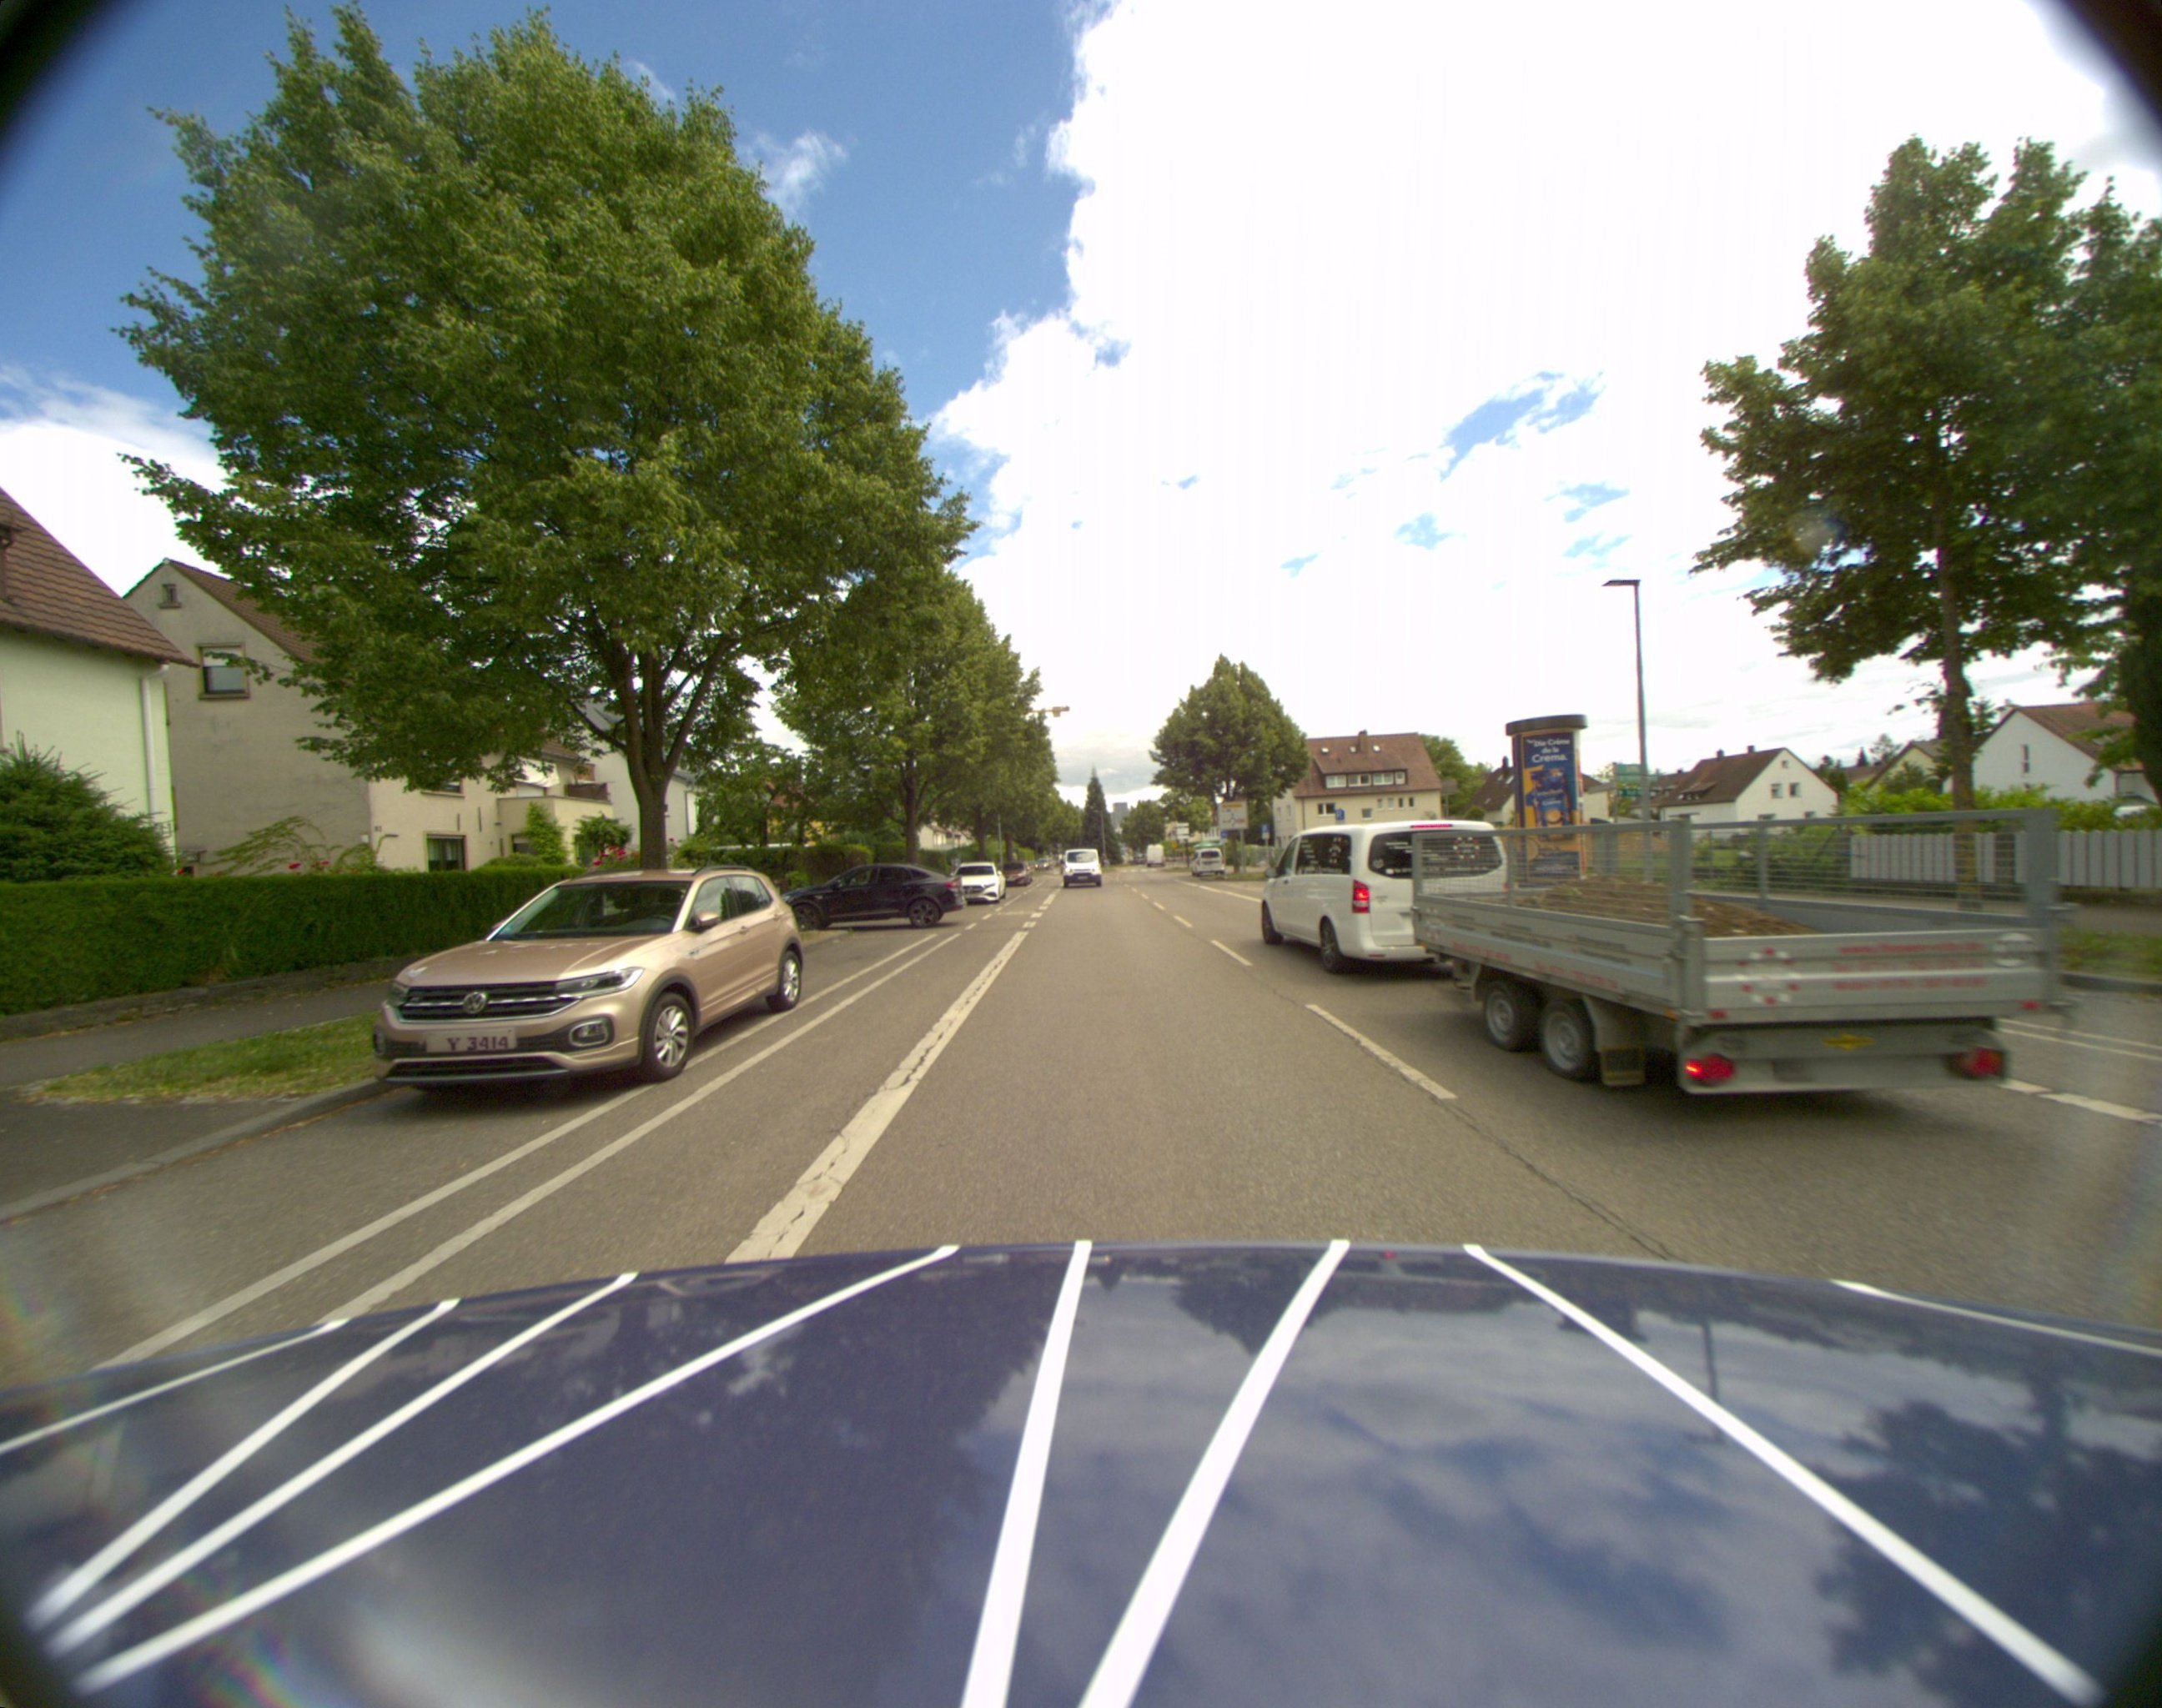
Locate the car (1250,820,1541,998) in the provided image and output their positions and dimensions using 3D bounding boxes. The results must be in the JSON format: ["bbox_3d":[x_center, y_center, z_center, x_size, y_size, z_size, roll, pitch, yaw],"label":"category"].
[{"bbox_3d":[3.904,0.581,10.533,1.971,1.820,4.818,-2,0,0],"label":"car"}]

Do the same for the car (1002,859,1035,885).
[{"bbox_3d":[-3.652,1.043,45.055,1.657,1.407,4.176,-1,0,-1],"label":"car"}]

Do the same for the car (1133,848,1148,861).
[{"bbox_3d":[8.403,0.070,107.629,1.926,1.744,4.000,-3,0,2],"label":"car"}]

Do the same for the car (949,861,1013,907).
[{"bbox_3d":[-3.652,1.047,28.535,1.810,1.466,4.811,-3,0,-2],"label":"car"}]

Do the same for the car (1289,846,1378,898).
[{"bbox_3d":[8.426,0.561,25.706,1.689,1.532,4.132,-2,0,2],"label":"car"}]

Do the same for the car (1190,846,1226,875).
[{"bbox_3d":[8.618,0.421,51.752,1.774,1.760,4.551,-3,0,2],"label":"car"}]

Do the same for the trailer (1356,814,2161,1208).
[{"bbox_3d":[3.925,0.692,5.709,1.943,1.667,4.688,-2,0,0],"label":"trailer"}]

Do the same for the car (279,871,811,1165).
[{"bbox_3d":[-3.880,1.010,6.526,1.726,1.571,4.060,-3,0,-2],"label":"car"}]

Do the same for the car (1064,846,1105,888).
[{"bbox_3d":[0.165,0.649,40.984,1.999,2.002,5.050,-3,0,0],"label":"car"}]

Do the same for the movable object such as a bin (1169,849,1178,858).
[{"bbox_3d":[15.349,-0.058,125.986,0.984,1.408,2.722,-3,0,1],"label":"movable object such as a bin"}]

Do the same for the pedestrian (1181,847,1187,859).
[{"bbox_3d":[15.191,-0.147,111.960,0.636,1.816,0.567,-4,0,17],"label":"pedestrian"}]

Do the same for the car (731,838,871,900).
[{"bbox_3d":[-13.032,0.677,35.705,5.730,2.576,1.997,-3,0,-4],"label":"car"}]

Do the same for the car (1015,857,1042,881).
[{"bbox_3d":[-3.549,0.997,51.828,1.569,1.447,3.668,-3,0,0],"label":"car"}]

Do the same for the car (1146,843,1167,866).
[{"bbox_3d":[9.102,0.047,92.283,2.024,2.658,5.806,-3,0,2],"label":"car"}]

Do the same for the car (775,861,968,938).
[{"bbox_3d":[-4.923,1.045,18.353,4.229,1.628,1.692,-2,0,-5],"label":"car"}]

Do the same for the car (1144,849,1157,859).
[{"bbox_3d":[11.875,0.021,129.370,1.751,1.626,4.048,-3,0,1],"label":"car"}]

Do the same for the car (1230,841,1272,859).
[{"bbox_3d":[18.035,-0.444,80.733,3.928,1.653,1.855,-4,2,0],"label":"car"}]
